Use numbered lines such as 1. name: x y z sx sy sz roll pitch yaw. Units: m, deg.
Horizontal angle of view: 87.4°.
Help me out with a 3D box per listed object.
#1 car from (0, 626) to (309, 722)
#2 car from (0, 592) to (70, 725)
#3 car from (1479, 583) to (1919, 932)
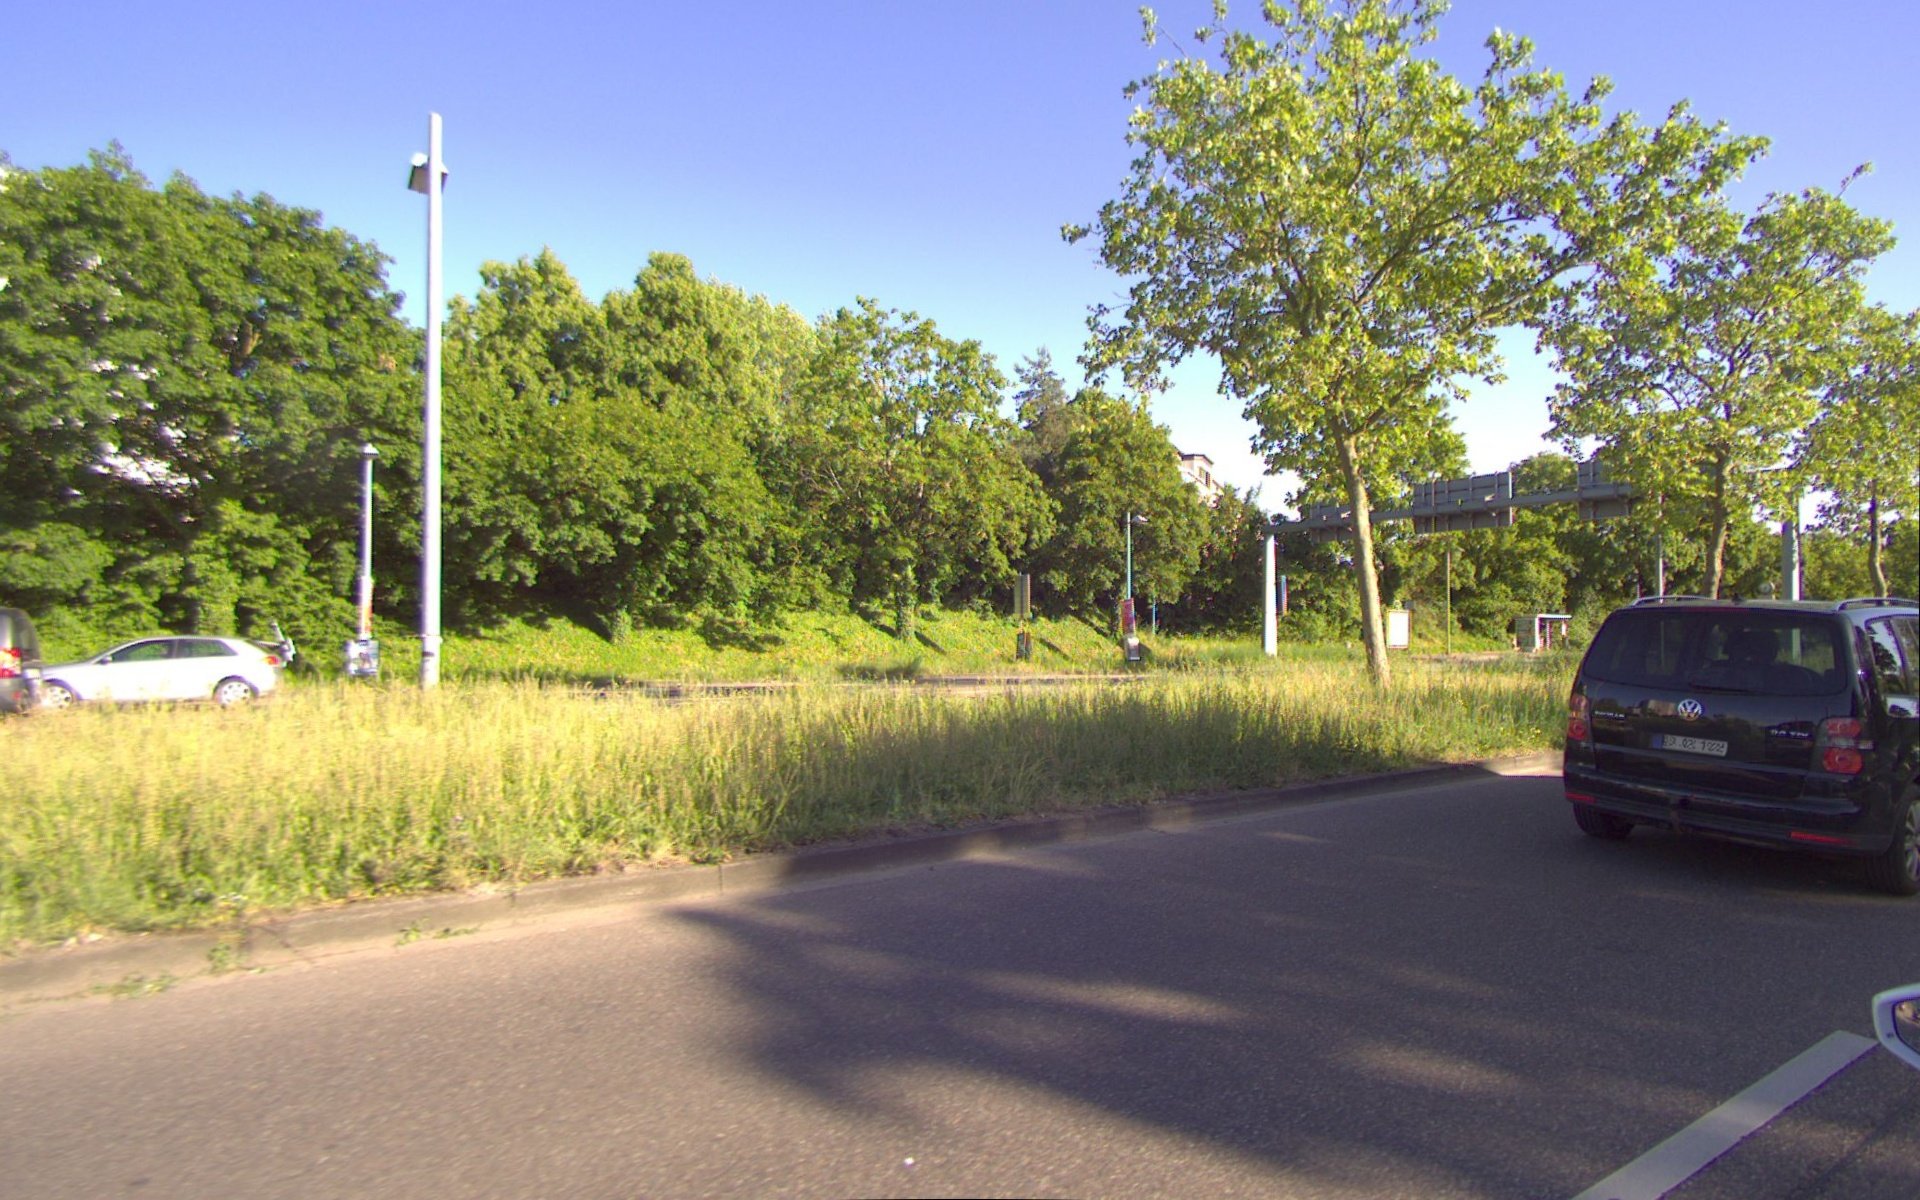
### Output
1. car: -15.009 1.333 18.986 4.517 1.631 1.887 1 -3 -34
2. car: -13.548 0.704 11.682 4.517 1.585 1.887 1 -3 -34
3. car: 5.759 0.797 6.868 4.870 1.666 1.757 1 0 -33
